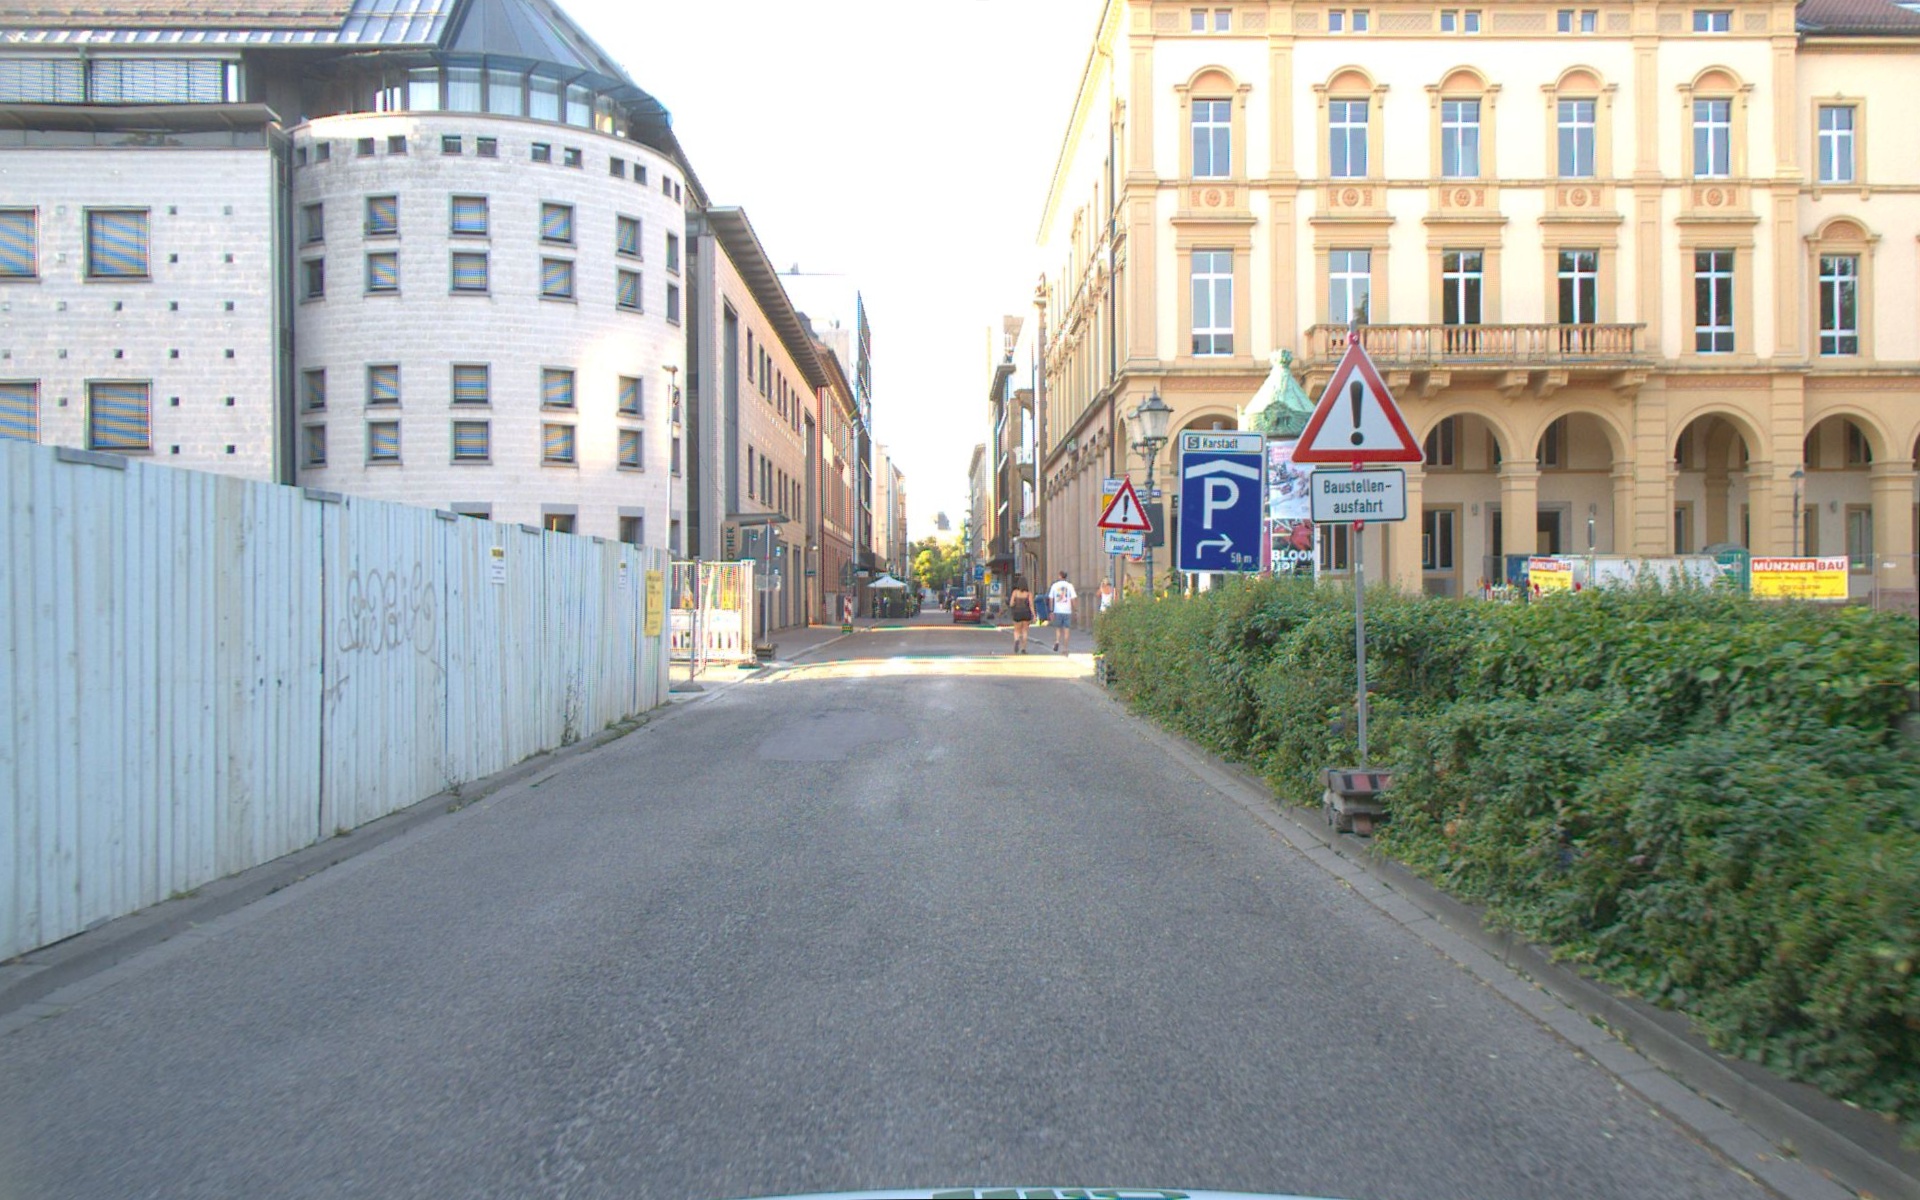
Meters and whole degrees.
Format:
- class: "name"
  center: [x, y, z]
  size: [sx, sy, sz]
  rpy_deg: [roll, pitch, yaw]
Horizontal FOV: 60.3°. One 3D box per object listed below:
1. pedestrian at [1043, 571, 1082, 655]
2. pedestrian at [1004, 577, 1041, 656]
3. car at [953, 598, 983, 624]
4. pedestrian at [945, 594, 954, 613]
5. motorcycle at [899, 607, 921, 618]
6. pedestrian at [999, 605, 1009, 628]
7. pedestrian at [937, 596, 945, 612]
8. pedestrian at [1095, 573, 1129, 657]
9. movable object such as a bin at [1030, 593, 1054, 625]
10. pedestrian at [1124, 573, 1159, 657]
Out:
- class: "pedestrian"
  center: [2.349, 0.300, 38.029]
  size: [0.795, 1.908, 0.875]
  rpy_deg: [-1, 0, -2]
- class: "pedestrian"
  center: [1.414, 0.375, 37.715]
  size: [0.760, 1.777, 0.875]
  rpy_deg: [-1, 0, -2]
- class: "car"
  center: [0.443, 0.624, 95.876]
  size: [1.616, 1.452, 3.535]
  rpy_deg: [2, 0, 0]
- class: "pedestrian"
  center: [-0.968, 0.331, 155.007]
  size: [0.848, 1.743, 0.852]
  rpy_deg: [0, 0, -1]
- class: "motorcycle"
  center: [-4.100, 1.033, 135.716]
  size: [1.766, 0.891, 0.560]
  rpy_deg: [0, 0, -5]
- class: "pedestrian"
  center: [2.942, 1.084, 110.840]
  size: [0.643, 1.514, 0.493]
  rpy_deg: [-1, 0, 1]
- class: "pedestrian"
  center: [-2.003, 0.463, 176.220]
  size: [0.788, 1.702, 0.888]
  rpy_deg: [-1, 0, 1]
- class: "pedestrian"
  center: [3.358, 0.333, 36.612]
  size: [0.623, 1.835, 0.771]
  rpy_deg: [-1, 0, -2]
- class: "movable object such as a bin"
  center: [3.719, 0.410, 75.002]
  size: [0.970, 1.416, 1.240]
  rpy_deg: [-1, 0, -2]
- class: "pedestrian"
  center: [4.015, 0.329, 36.643]
  size: [0.623, 1.835, 0.771]
  rpy_deg: [-1, 0, -2]
